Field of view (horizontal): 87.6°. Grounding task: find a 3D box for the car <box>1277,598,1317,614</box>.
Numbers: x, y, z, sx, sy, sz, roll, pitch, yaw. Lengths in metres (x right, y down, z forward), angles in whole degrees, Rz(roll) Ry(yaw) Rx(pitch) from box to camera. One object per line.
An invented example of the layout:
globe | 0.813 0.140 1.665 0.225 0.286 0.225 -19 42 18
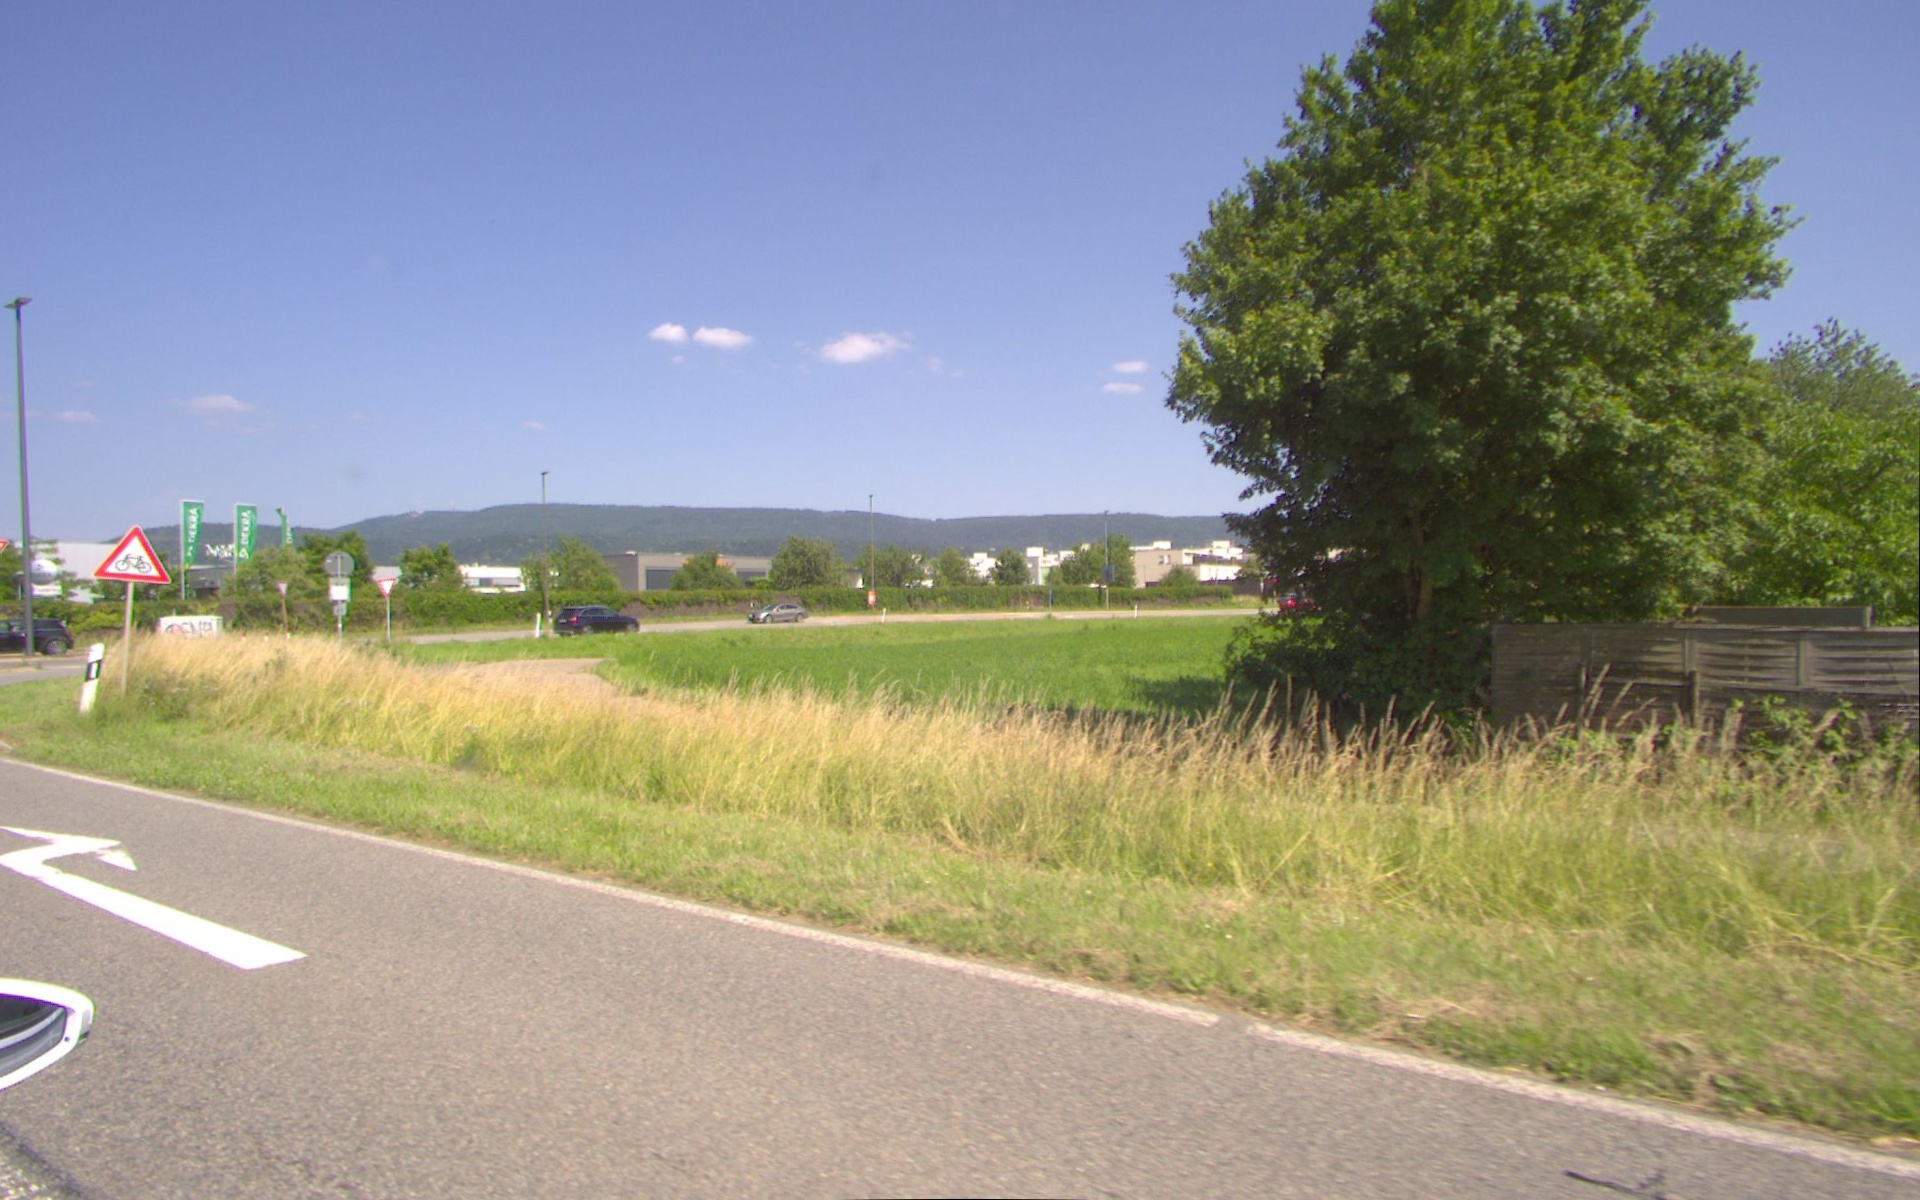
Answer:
car | 35.087 0.604 104.288 3.938 1.567 1.767 -1 1 -27

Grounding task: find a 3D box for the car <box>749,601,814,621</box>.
car | -12.958 0.782 72.780 4.330 1.345 1.790 -1 1 -41

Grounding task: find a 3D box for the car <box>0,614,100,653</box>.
car | -34.891 1.248 37.382 1.784 1.344 3.970 -1 0 39

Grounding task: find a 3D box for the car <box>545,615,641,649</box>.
car | -18.895 1.630 51.727 1.972 1.637 4.315 -1 -1 34
